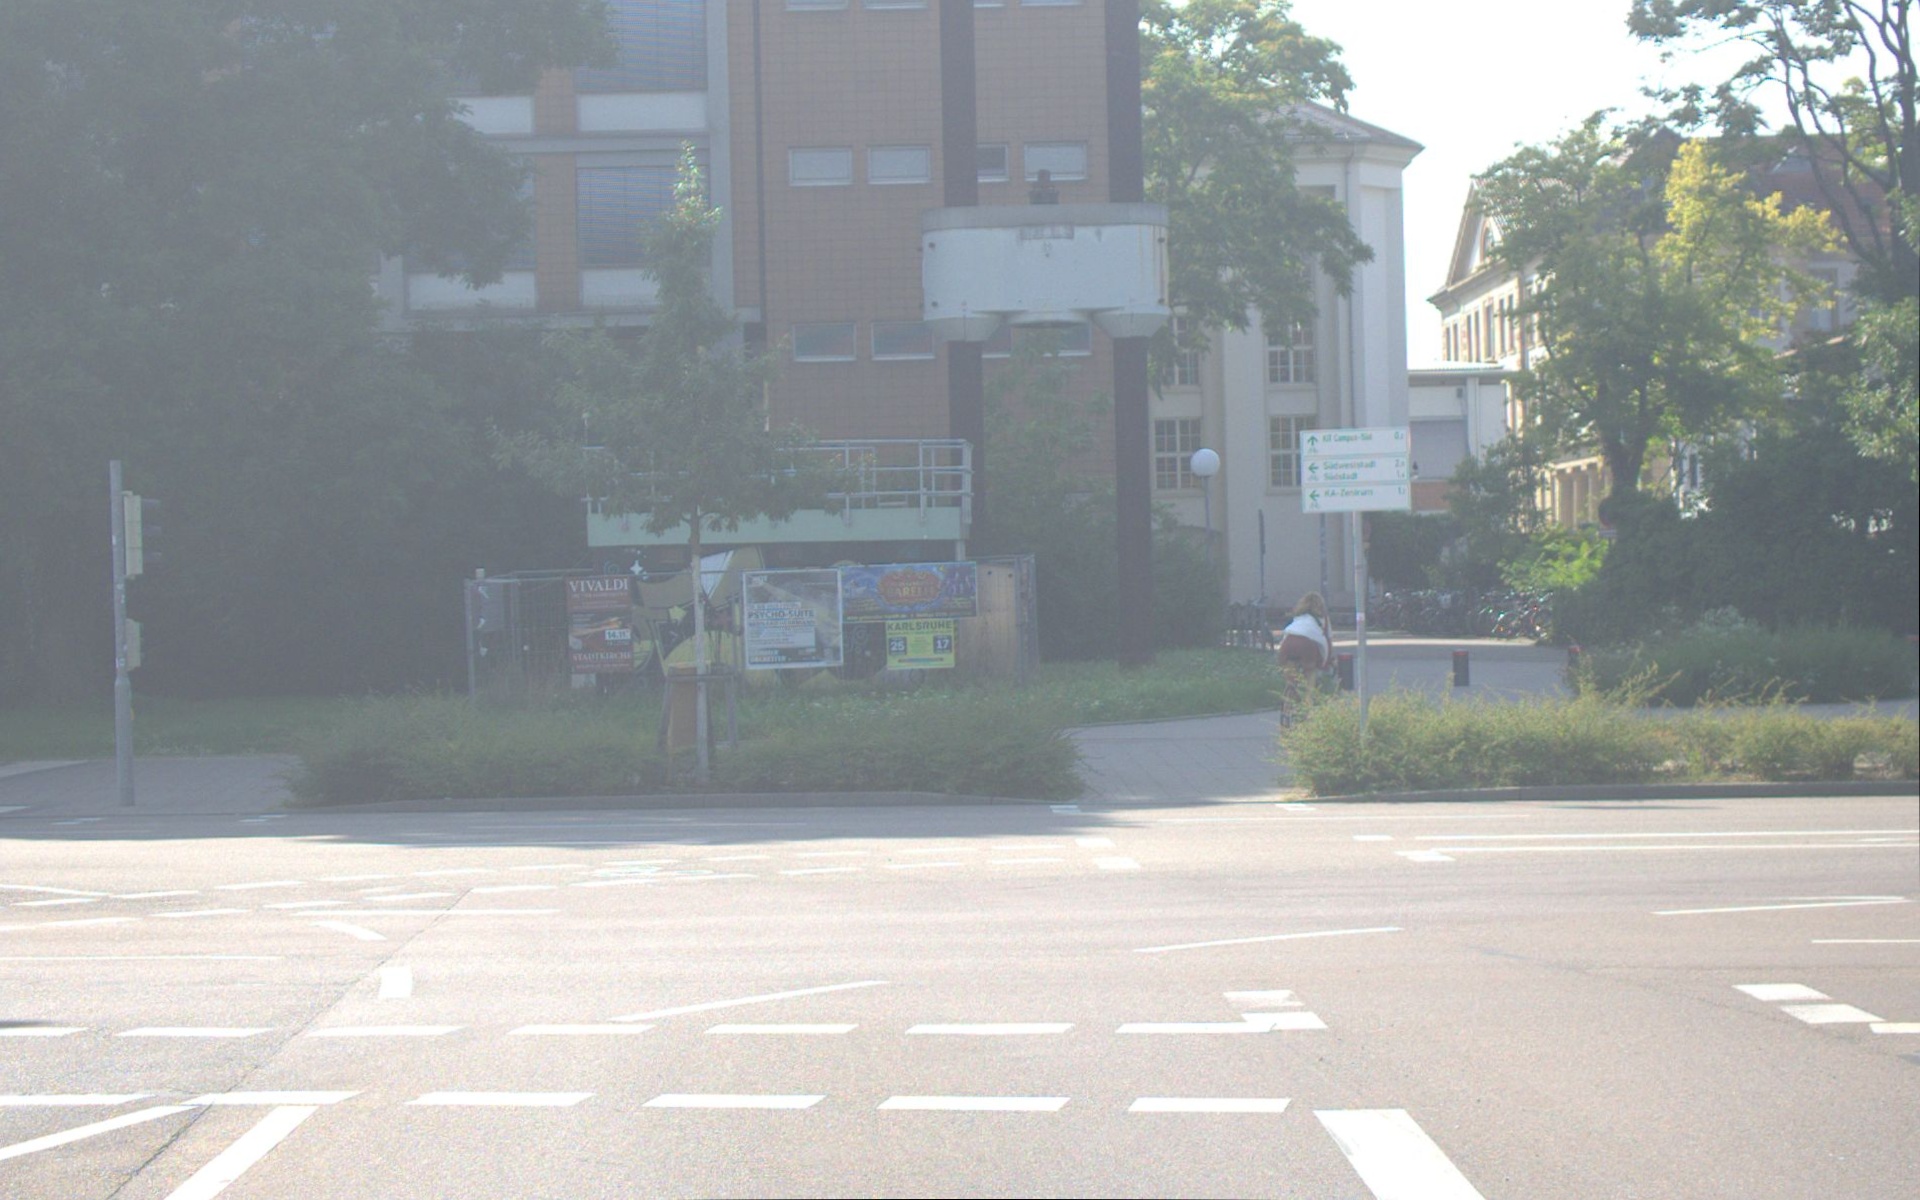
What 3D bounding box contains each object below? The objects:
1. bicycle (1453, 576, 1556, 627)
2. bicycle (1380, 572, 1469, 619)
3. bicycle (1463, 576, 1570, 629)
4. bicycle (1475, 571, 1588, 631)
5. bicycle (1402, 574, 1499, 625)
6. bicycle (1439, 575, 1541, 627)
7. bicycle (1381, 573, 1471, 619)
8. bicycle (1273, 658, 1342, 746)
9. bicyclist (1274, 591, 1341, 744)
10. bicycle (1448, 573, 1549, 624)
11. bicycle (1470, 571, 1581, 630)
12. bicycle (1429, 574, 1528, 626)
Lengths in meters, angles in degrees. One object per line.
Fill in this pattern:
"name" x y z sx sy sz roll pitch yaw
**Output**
"bicycle" 13.271 0.030 83.813 2.427 1.230 0.720 1 0 4
"bicycle" 13.014 -0.134 96.319 2.427 1.276 0.720 1 0 4
"bicycle" 13.038 0.055 80.597 2.427 1.219 0.720 1 0 4
"bicycle" 12.776 0.023 76.927 2.427 1.314 0.720 1 0 4
"bicycle" 12.628 -0.024 88.514 2.427 1.277 0.720 1 0 4
"bicycle" 13.056 0.020 84.673 2.427 1.235 0.720 1 0 4
"bicycle" 12.940 -0.122 95.470 2.427 1.258 0.720 1 0 4
"bicycle" 3.711 1.080 36.641 0.673 0.876 1.400 -1 0 8
"bicyclist" 3.718 0.717 36.761 0.650 1.596 0.919 -1 0 7
"bicycle" 13.423 -0.038 85.699 2.427 1.225 0.720 1 0 4
"bicycle" 12.840 0.001 78.062 2.427 1.314 0.720 1 0 4
"bicycle" 13.160 -0.005 87.300 2.427 1.277 0.720 1 0 4
